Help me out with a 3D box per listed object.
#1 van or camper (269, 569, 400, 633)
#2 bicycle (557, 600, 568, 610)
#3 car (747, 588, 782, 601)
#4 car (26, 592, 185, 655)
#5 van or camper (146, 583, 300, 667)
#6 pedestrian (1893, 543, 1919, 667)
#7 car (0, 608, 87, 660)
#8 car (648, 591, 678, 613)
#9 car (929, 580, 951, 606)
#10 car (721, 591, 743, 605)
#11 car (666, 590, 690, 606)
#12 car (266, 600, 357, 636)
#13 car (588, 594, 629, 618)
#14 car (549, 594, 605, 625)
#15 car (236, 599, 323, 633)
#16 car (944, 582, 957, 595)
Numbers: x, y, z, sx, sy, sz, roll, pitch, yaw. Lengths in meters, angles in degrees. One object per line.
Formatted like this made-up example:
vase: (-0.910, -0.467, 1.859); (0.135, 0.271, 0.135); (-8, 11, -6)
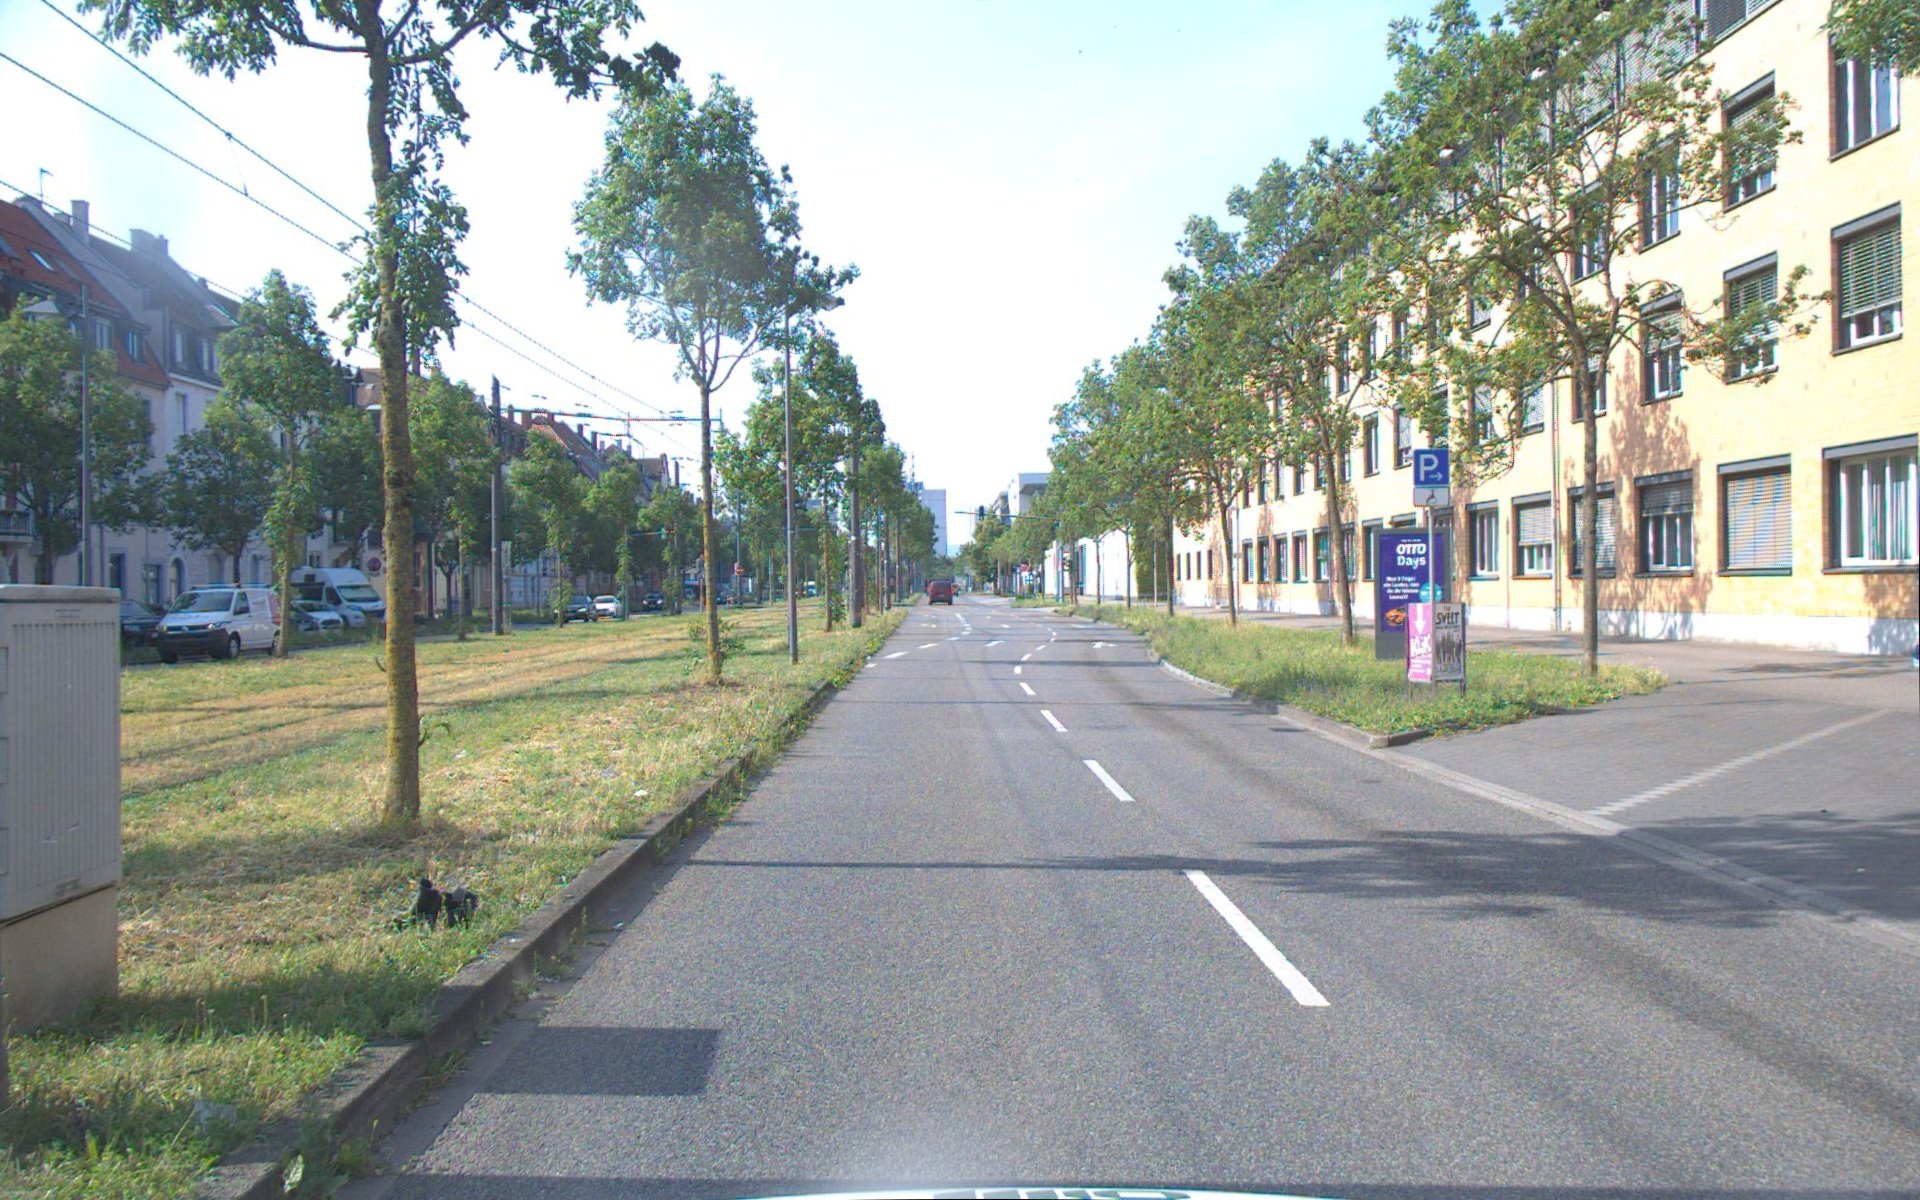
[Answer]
van or camper: (-26.624, 0.032, 70.338); (5.803, 2.618, 2.193); (1, 0, 34)
bicycle: (-32.042, 0.399, 133.347); (0.428, 0.803, 1.946); (1, 0, -2)
car: (-29.612, -0.823, 251.042); (5.215, 1.768, 1.994); (1, 0, 33)
car: (-26.013, 0.708, 50.354); (4.539, 1.773, 1.833); (-1, 0, 24)
van or camper: (-20.164, 0.655, 45.526); (1.912, 2.133, 5.351); (1, 0, -2)
pedestrian: (13.402, 0.079, 22.743); (0.682, 1.685, 0.773); (1, 0, -1)
car: (-24.786, 0.863, 43.527); (3.610, 1.263, 1.657); (1, 0, 34)
car: (-23.994, 0.146, 133.649); (1.728, 1.684, 3.999); (1, 0, -1)
car: (-1.578, -0.564, 134.034); (1.712, 2.049, 3.215); (1, 0, 0)
car: (-23.372, -0.210, 169.685); (1.776, 1.458, 3.924); (1, 0, -2)
car: (-29.554, -0.214, 173.448); (1.954, 1.657, 4.772); (1, 0, -3)
car: (-26.261, 0.713, 66.950); (3.610, 1.355, 1.657); (1, 0, 34)
car: (-22.948, 0.412, 108.085); (1.909, 1.485, 4.645); (1, 0, -3)
car: (-21.343, 0.532, 92.371); (1.953, 1.658, 5.378); (1, 0, -2)
car: (-26.381, 0.614, 64.092); (3.619, 1.263, 1.653); (1, 0, 40)
car: (-1.239, -1.537, 222.832); (1.712, 1.679, 3.215); (1, 0, 0)
